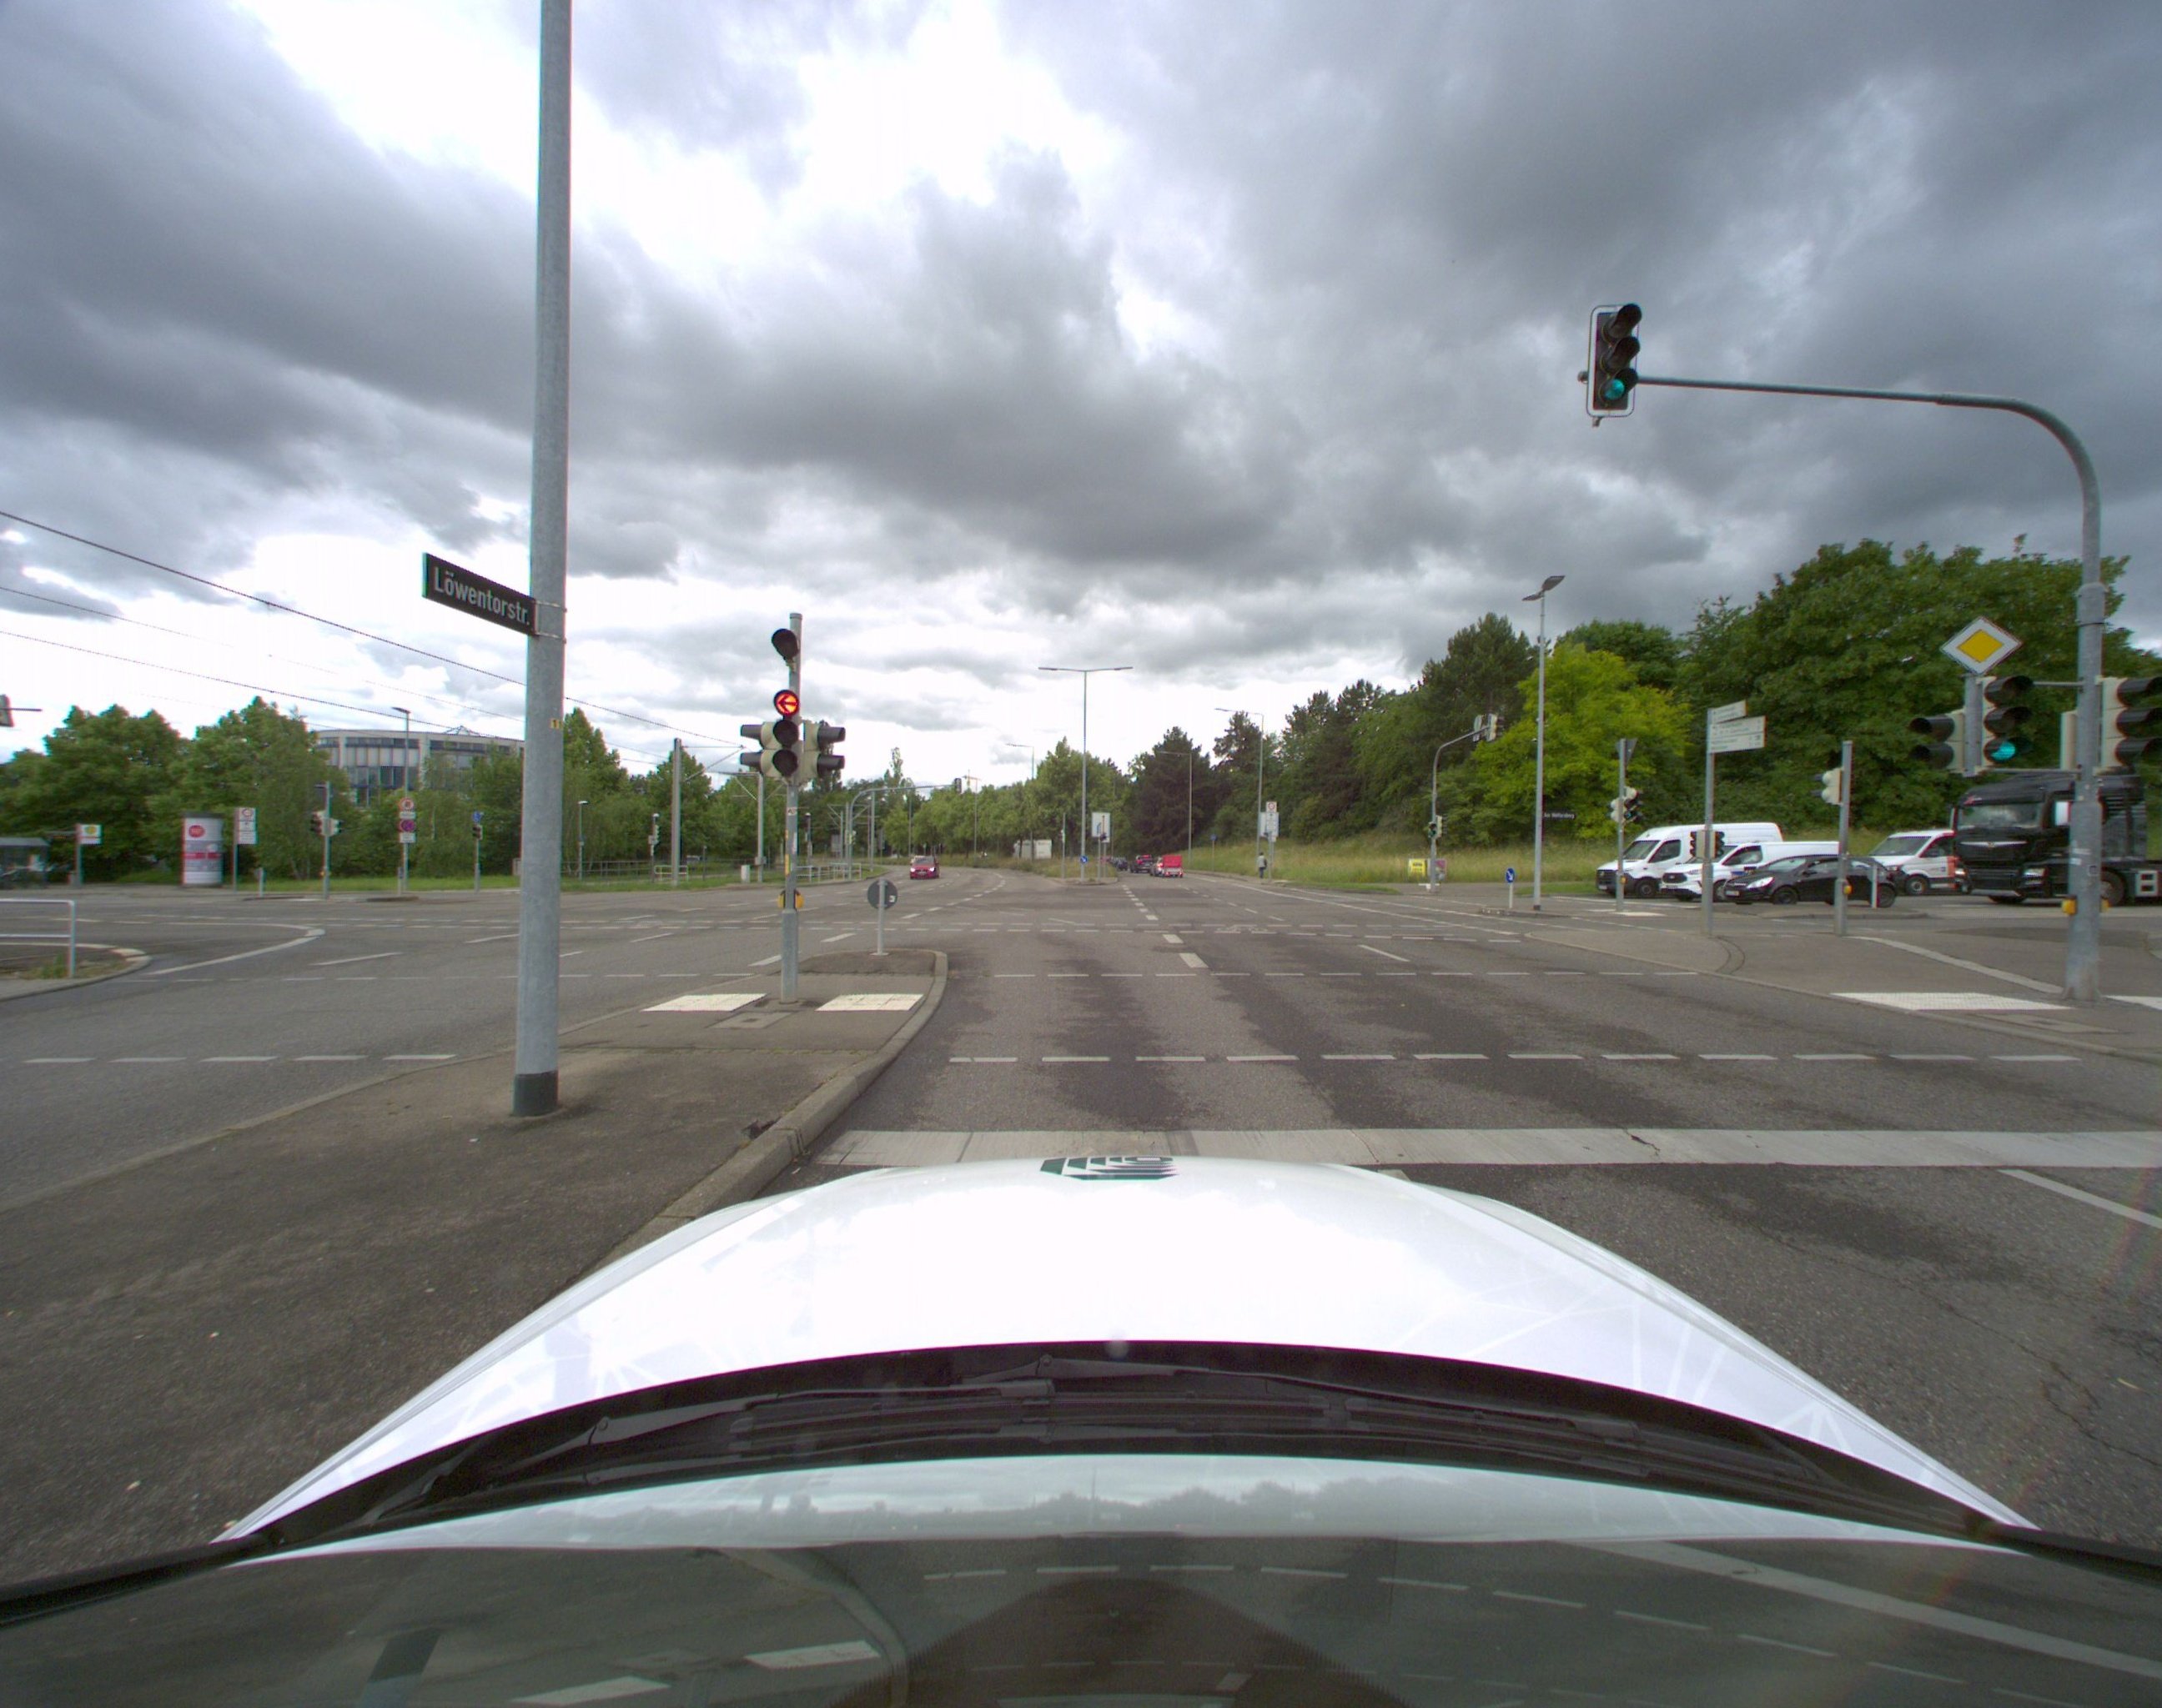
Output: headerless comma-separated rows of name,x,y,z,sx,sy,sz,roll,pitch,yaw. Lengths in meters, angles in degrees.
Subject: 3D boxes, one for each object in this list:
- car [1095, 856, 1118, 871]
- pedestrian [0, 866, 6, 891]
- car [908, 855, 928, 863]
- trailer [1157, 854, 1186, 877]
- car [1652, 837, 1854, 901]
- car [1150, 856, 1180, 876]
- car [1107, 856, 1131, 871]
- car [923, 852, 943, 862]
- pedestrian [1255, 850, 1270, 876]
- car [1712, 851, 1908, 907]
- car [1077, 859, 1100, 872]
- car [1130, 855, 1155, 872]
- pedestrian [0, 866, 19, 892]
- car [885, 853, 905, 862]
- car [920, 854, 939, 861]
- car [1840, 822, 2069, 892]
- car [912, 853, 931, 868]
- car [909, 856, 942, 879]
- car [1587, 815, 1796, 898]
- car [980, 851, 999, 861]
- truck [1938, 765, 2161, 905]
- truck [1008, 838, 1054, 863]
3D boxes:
car,2.870,1.069,91.211,1.778,1.546,4.011,-2,1,-10
pedestrian,-57.764,1.299,43.171,0.774,1.303,0.666,0,0,15
car,-32.438,1.062,162.141,1.762,1.546,4.048,0,0,25
trailer,6.521,0.799,58.900,1.760,1.616,3.042,0,0,-1
car,21.595,0.457,26.328,4.836,1.896,2.034,-1,0,1
car,6.448,0.888,62.643,1.773,1.421,4.456,0,0,-1
car,3.956,0.962,85.030,1.777,1.546,4.014,0,0,-8
car,-26.312,0.485,144.962,2.009,1.684,3.955,0,-1,-37
pedestrian,11.410,0.581,51.262,0.811,1.627,0.791,0,0,1
car,20.284,0.668,22.771,3.905,1.436,1.732,-1,0,1
car,0.877,1.376,99.179,1.781,1.546,4.004,-1,0,-15
car,5.649,0.846,75.194,1.774,1.546,4.019,0,0,-4
pedestrian,-56.452,1.314,42.727,0.774,1.304,0.666,0,0,15
car,-35.167,0.624,153.994,2.011,1.684,3.951,0,-1,-44
car,-33.156,0.813,178.571,1.761,1.546,4.050,0,0,32
car,30.686,0.109,28.762,5.677,2.289,2.136,-1,0,2
car,-18.242,0.694,93.178,1.827,1.629,4.414,-1,0,-7
car,-10.440,0.865,54.945,1.778,1.443,4.417,-1,0,-6
car,21.901,0.094,29.408,5.870,2.781,2.136,-1,0,2
car,-14.686,0.286,130.924,1.787,1.546,3.990,-1,0,-26
truck,27.938,-0.516,22.268,6.027,3.538,2.729,-1,0,2
truck,-7.351,-0.484,116.599,2.752,3.328,11.315,0,0,-24
